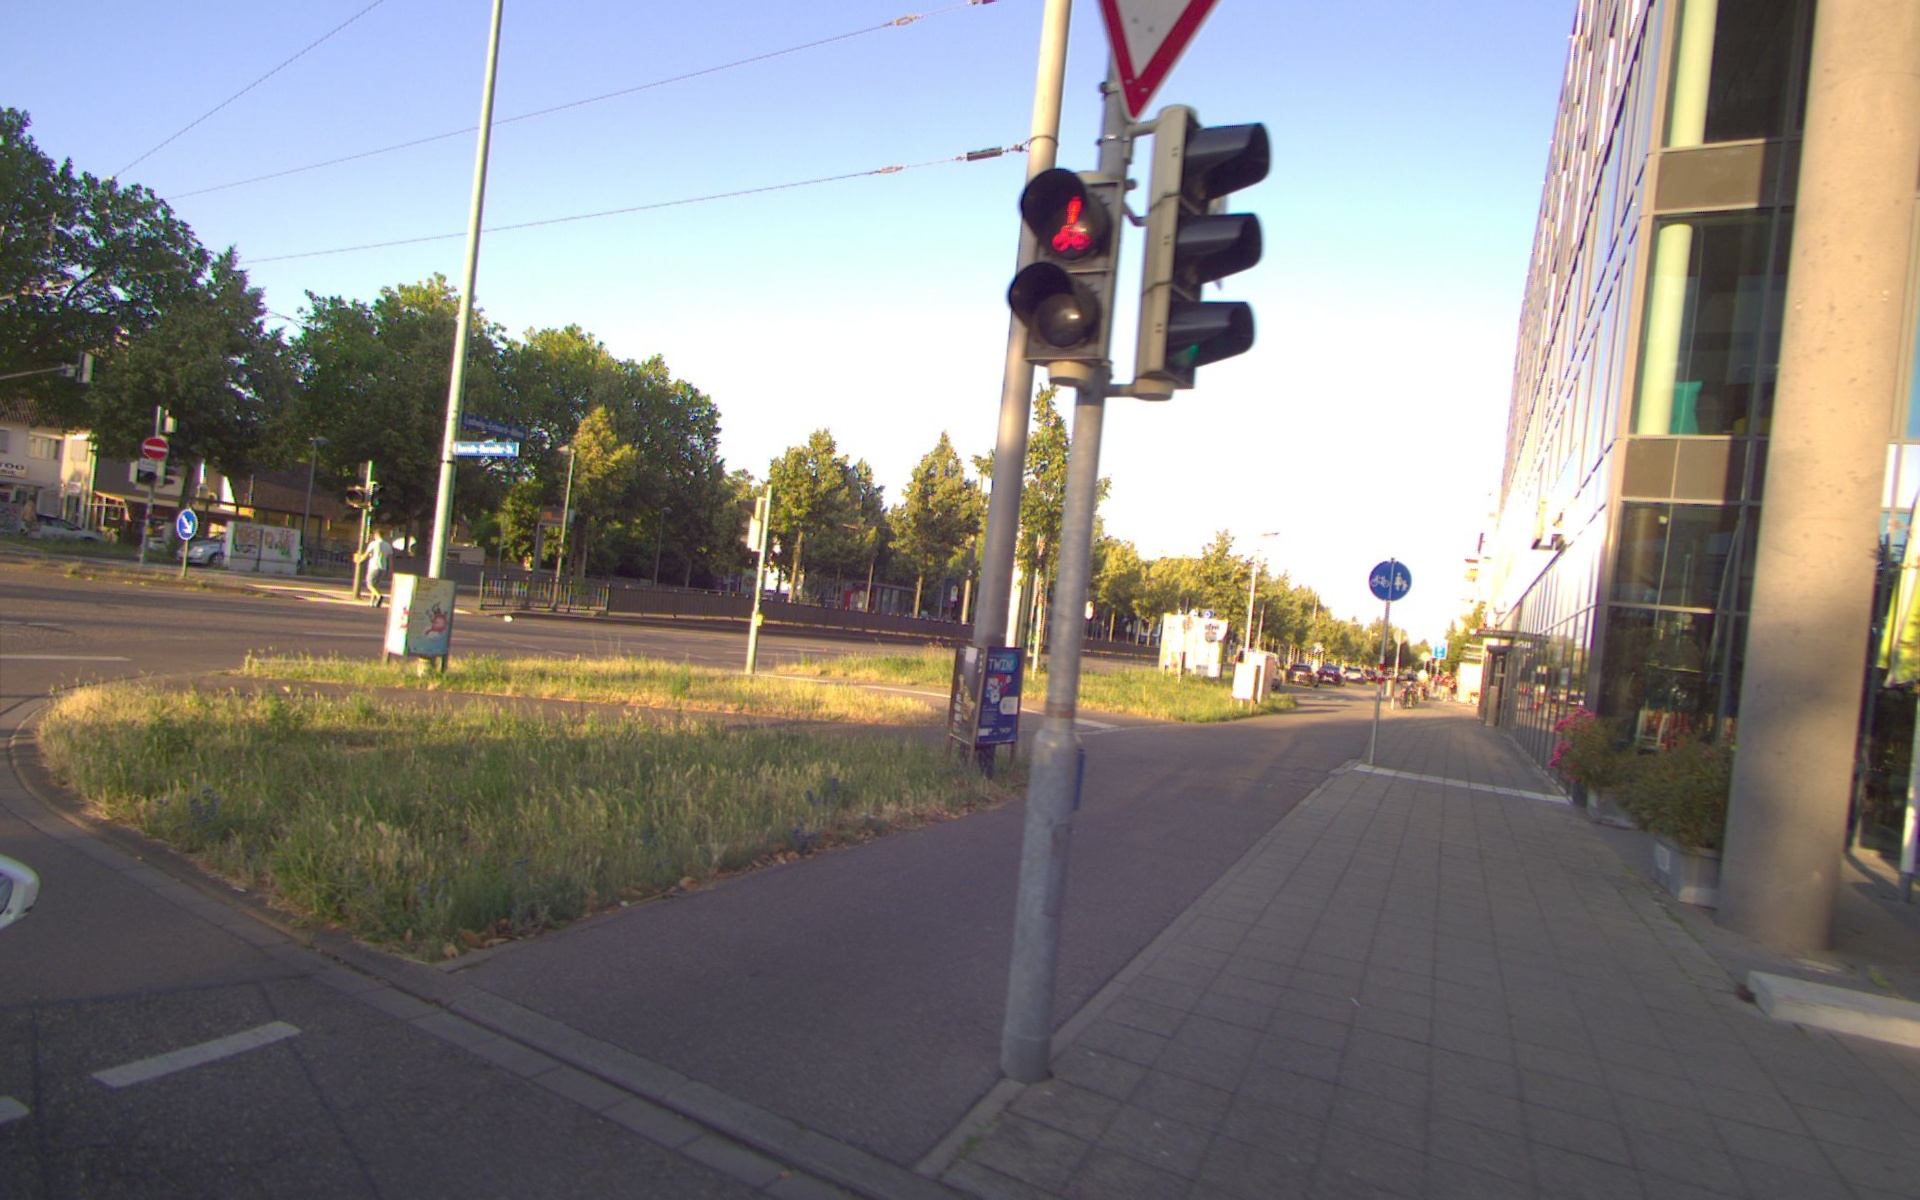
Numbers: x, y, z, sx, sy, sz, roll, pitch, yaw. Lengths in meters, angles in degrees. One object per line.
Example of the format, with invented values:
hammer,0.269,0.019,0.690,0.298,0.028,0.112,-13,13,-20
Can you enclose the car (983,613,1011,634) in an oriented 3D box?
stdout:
car,4.600,2.861,124.110,1.750,2.211,3.996,6,-1,27

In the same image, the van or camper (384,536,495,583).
van or camper,-36.511,-2.814,70.785,2.227,2.438,6.572,5,-2,32

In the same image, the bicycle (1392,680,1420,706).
bicycle,19.795,4.125,44.618,0.626,1.081,2.116,6,-1,35

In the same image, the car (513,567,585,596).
car,-28.691,-1.260,70.370,1.967,1.482,4.237,6,-1,31

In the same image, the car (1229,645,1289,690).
car,14.660,3.320,49.210,1.824,1.850,4.391,8,0,27

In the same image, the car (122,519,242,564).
car,-38.777,-2.889,50.239,1.967,1.596,4.237,6,-1,31

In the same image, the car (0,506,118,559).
car,-41.660,-3.089,46.059,1.967,1.868,4.237,6,-1,31

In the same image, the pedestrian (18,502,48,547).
pedestrian,-38.887,-3.172,42.215,0.714,1.776,0.888,6,0,-37

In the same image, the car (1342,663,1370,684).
car,38.631,7.145,98.106,1.964,1.717,4.412,8,0,26

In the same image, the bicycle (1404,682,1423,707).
bicycle,21.178,4.404,46.966,0.625,1.080,2.121,6,-2,26

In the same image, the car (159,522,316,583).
car,-28.038,-1.788,39.232,1.828,1.748,4.547,6,-1,24

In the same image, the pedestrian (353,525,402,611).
pedestrian,-13.121,-0.717,22.657,0.756,1.812,0.796,7,-1,-31

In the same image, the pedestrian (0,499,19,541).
pedestrian,-40.114,-3.356,42.208,0.714,1.659,0.888,6,0,-37

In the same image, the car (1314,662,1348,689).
car,28.631,5.835,77.593,1.964,1.717,4.591,8,0,24

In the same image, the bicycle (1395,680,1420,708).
bicycle,18.541,3.895,41.671,0.535,1.081,2.000,7,-1,33

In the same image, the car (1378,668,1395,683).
car,59.263,10.496,139.808,1.867,1.793,3.944,6,-1,26

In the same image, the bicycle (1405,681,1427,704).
bicycle,22.618,4.581,49.882,0.626,1.081,2.118,6,-1,31

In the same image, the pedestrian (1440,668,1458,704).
pedestrian,30.315,5.314,62.359,0.801,2.115,1.111,5,-1,29

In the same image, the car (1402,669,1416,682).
car,80.768,13.603,180.860,1.965,2.038,3.997,6,-1,26

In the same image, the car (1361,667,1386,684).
car,48.772,8.899,118.613,2.001,1.717,4.391,8,0,30
